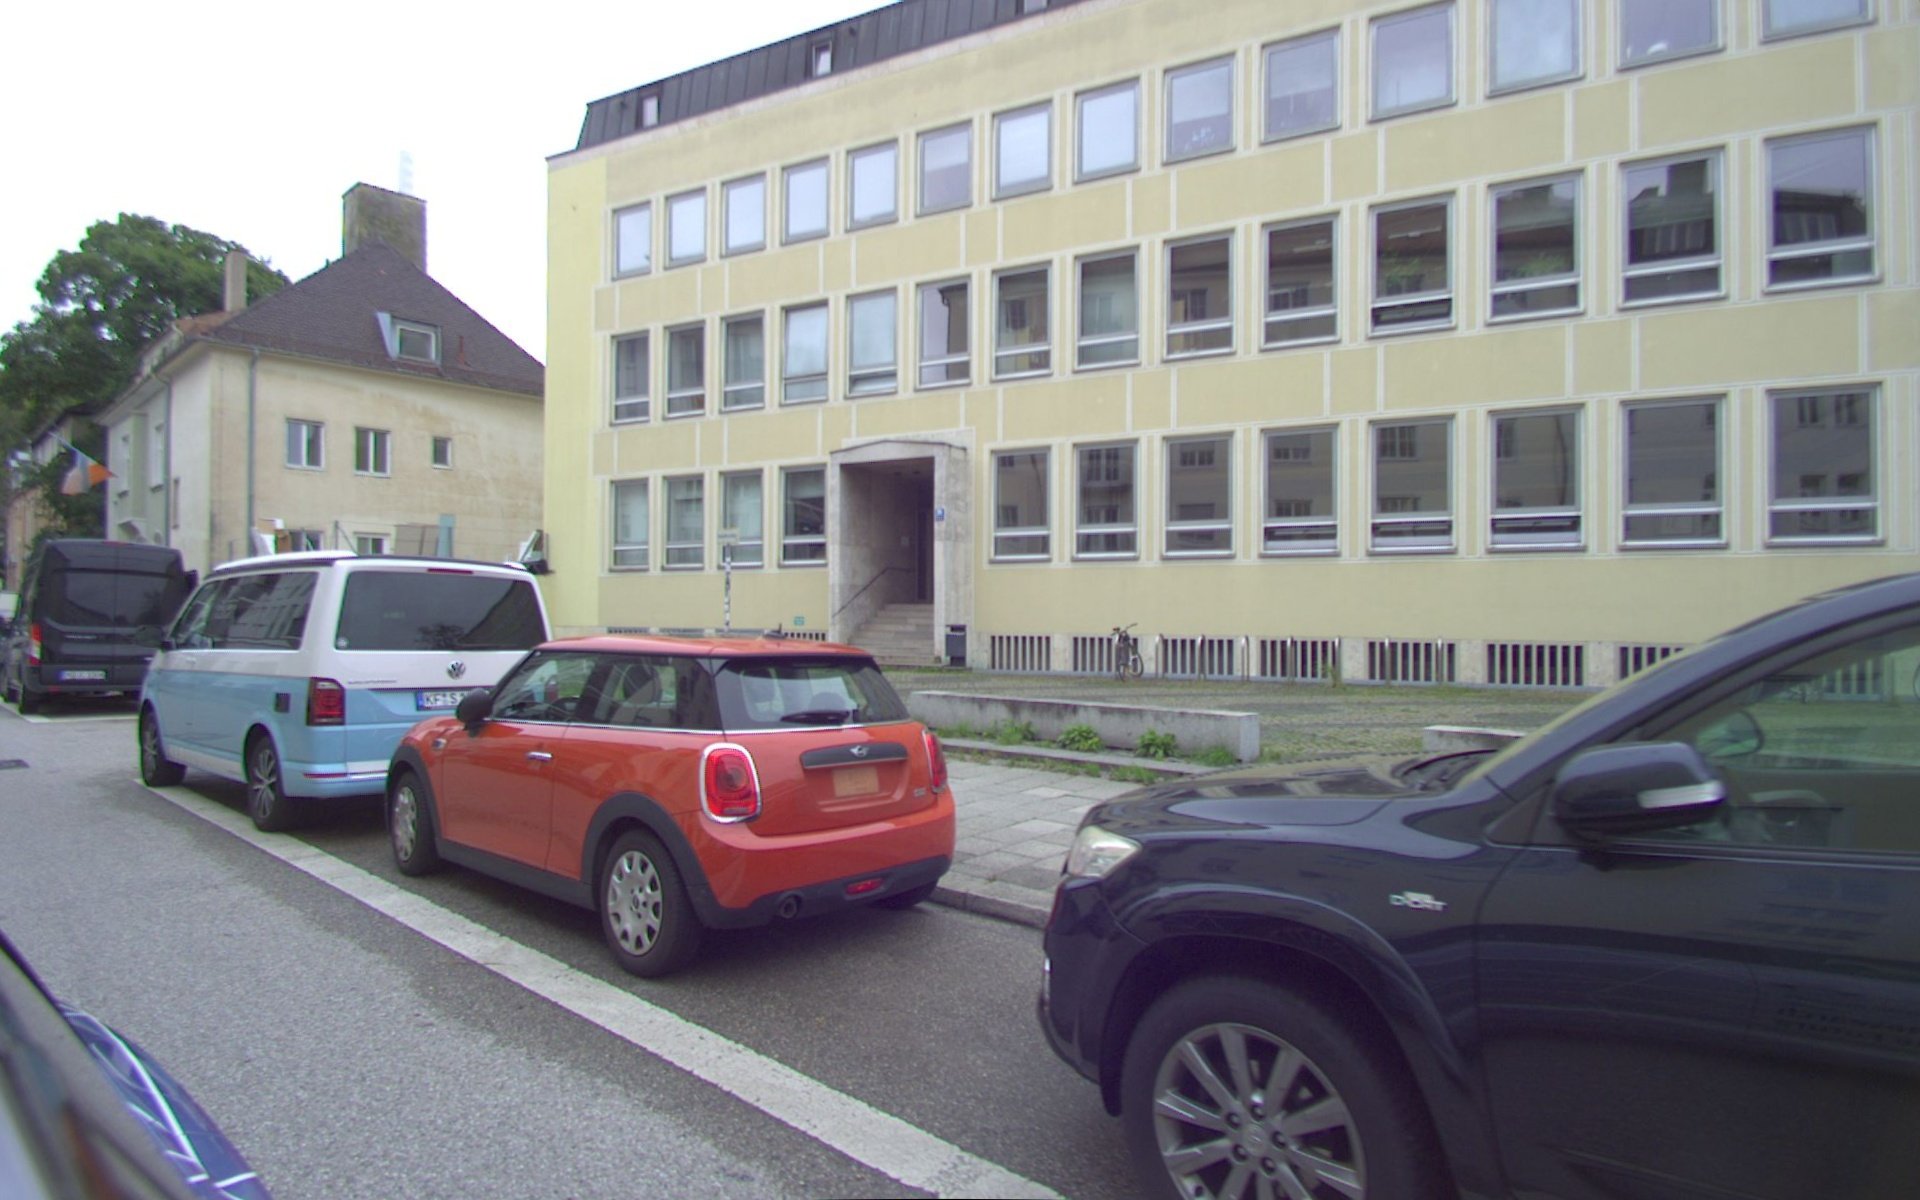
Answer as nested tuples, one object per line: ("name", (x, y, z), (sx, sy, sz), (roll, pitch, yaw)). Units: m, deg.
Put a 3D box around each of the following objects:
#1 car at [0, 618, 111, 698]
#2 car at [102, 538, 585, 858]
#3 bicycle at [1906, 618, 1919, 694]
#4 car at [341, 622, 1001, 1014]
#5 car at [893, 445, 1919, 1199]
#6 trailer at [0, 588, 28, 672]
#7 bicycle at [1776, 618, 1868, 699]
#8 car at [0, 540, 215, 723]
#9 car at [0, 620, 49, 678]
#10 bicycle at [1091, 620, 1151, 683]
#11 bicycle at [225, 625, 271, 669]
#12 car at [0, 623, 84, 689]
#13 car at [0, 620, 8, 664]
("car", (-19.040, 1.128, 20.810), (3.484, 1.505, 1.686), (-1, -1, 37))
("car", (-5.457, 0.664, 8.647), (5.017, 1.994, 1.909), (-1, -2, 39))
("bicycle", (13.040, 0.754, 13.191), (0.623, 1.022, 1.932), (-1, -1, 31))
("car", (-1.833, 0.843, 5.669), (3.916, 1.398, 1.725), (-1, -1, 41))
("car", (2.077, 0.661, 2.059), (4.446, 1.679, 1.726), (-1, -5, 41))
("trailer", (-31.031, 0.918, 32.227), (1.792, 2.555, 3.392), (6, -5, -43))
("bicycle", (11.808, 0.767, 13.919), (0.623, 1.022, 1.932), (-1, -1, 31))
("car", (-14.989, 0.536, 17.549), (5.653, 2.666, 2.272), (-1, -3, 43))
("car", (-26.962, 1.329, 28.323), (4.644, 1.511, 1.793), (-1, -2, 43))
("bicycle", (2.908, 0.896, 18.142), (0.577, 1.022, 1.937), (-1, 0, 24))
("bicycle", (-18.883, 1.229, 26.823), (1.741, 1.140, 0.573), (-1, -1, 40))
("car", (-22.361, 1.279, 24.023), (4.066, 1.436, 1.676), (-1, -2, 39))
("car", (-35.125, 1.454, 35.818), (3.841, 1.525, 1.744), (-1, -2, 42))
